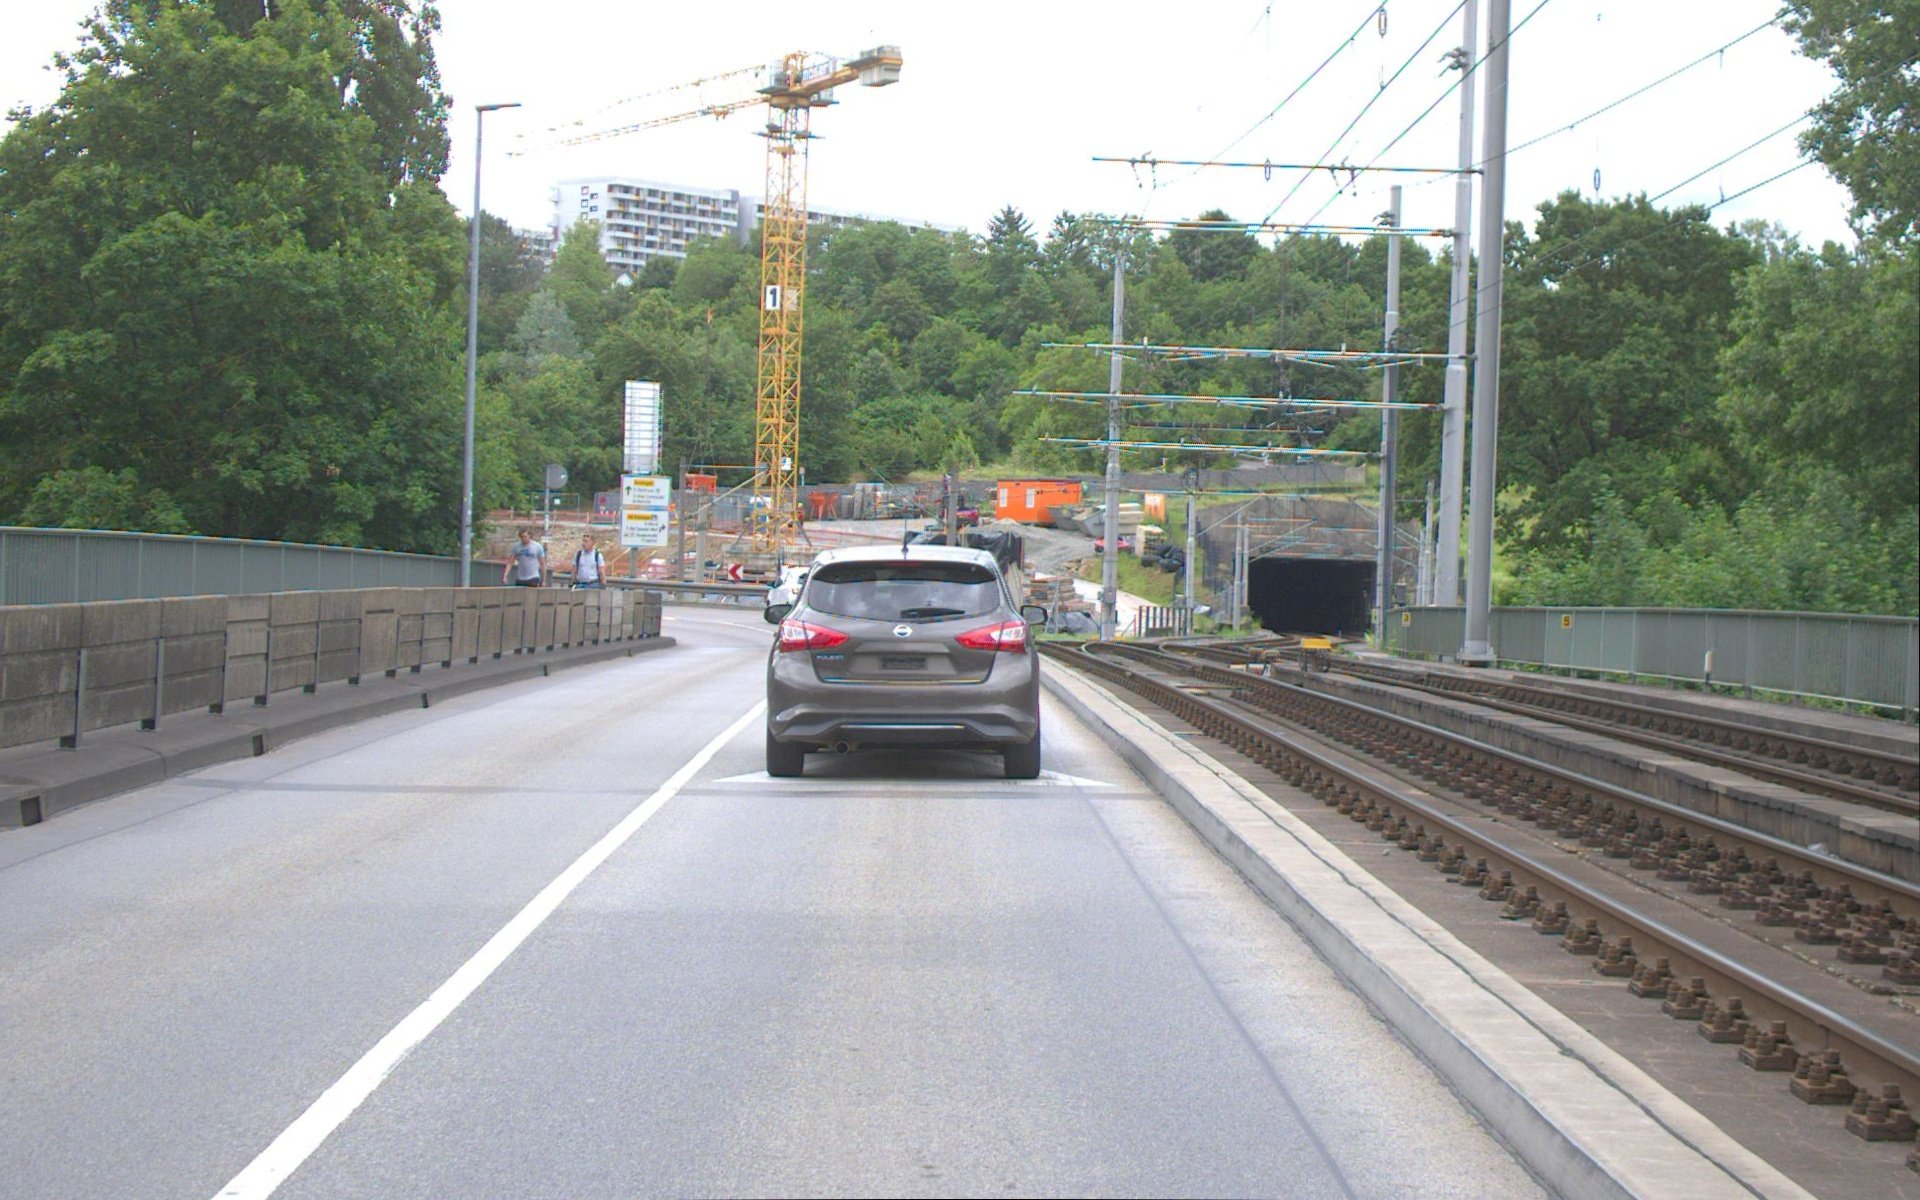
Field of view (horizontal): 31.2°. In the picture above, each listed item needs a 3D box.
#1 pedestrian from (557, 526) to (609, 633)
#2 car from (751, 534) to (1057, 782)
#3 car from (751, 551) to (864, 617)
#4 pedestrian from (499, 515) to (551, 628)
[{"bbox_3d":[-6.123,-0.334,55.816,0.721,1.695,0.723,2,1,-1],"label":"pedestrian"},{"bbox_3d":[-0.465,0.339,23.383,1.829,1.505,4.001,1,1,-4],"label":"car"},{"bbox_3d":[-3.998,-0.429,89.290,1.679,1.601,4.310,1,1,-20],"label":"car"},{"bbox_3d":[-7.187,-0.475,56.871,0.721,1.833,0.723,2,1,-1],"label":"pedestrian"}]
